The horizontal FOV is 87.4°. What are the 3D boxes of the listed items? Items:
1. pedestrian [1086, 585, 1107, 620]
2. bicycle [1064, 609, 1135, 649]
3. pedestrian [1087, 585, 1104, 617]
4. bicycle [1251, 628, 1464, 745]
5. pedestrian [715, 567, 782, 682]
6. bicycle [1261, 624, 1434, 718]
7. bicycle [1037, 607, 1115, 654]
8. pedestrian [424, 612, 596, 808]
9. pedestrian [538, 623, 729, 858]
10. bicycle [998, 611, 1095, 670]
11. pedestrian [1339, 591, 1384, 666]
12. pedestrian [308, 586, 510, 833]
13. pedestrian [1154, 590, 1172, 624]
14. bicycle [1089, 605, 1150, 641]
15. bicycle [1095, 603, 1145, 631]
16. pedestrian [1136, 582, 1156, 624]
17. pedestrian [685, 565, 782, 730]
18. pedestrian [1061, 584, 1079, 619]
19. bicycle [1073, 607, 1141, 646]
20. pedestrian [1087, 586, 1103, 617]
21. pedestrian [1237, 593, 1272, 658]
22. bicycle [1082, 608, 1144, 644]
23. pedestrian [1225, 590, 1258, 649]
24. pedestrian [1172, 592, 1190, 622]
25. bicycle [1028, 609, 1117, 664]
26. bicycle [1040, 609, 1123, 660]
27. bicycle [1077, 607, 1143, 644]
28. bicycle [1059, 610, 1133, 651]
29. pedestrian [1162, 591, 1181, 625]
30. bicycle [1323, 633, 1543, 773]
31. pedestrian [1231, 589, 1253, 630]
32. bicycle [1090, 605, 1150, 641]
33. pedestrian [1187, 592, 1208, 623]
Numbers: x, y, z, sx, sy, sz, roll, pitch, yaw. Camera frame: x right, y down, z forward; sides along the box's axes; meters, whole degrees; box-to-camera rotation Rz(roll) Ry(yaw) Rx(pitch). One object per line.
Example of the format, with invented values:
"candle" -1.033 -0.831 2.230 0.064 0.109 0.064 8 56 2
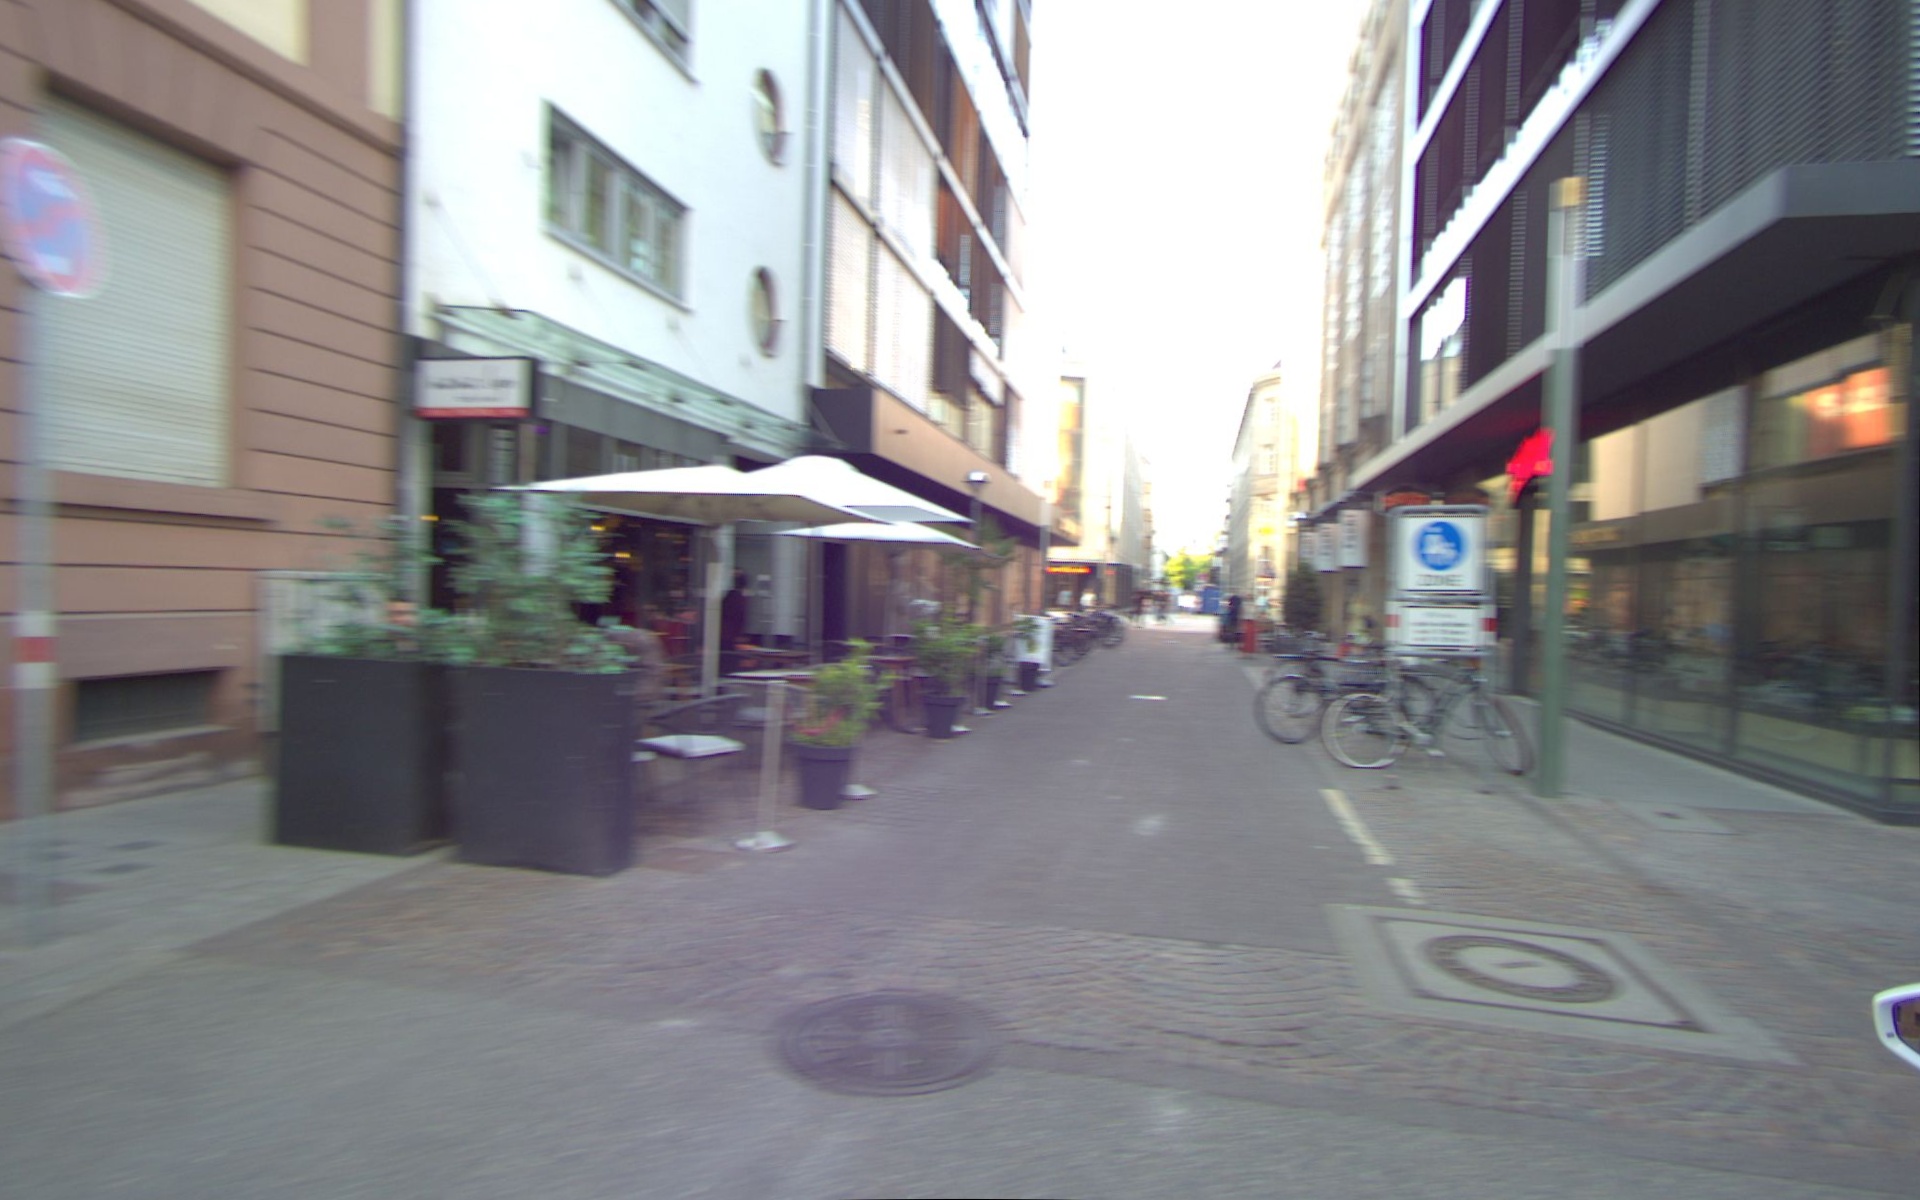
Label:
"pedestrian" 7.507 0.106 55.209 1.008 1.884 0.907 1 1 13
"bicycle" 4.163 0.851 29.975 2.013 1.030 0.467 4 2 13
"pedestrian" 8.194 0.073 60.711 0.889 1.884 0.836 1 1 13
"bicycle" 4.040 0.869 10.330 1.975 1.136 0.467 -1 1 13
"pedestrian" -3.176 0.360 15.155 0.842 1.681 0.799 1 1 -3
"bicycle" 4.919 0.894 12.847 1.999 1.136 0.467 -1 1 13
"bicycle" 3.018 0.783 26.051 1.914 1.089 0.467 4 2 13
"pedestrian" -3.021 0.707 6.790 0.776 1.199 0.674 3 1 12
"pedestrian" -1.843 0.760 5.747 0.776 1.199 0.674 3 1 8
"bicycle" 1.818 0.833 21.047 1.914 1.089 0.467 4 2 13
"pedestrian" 8.738 0.598 21.883 0.784 1.586 0.859 1 1 16
"pedestrian" -3.285 0.614 6.031 0.776 1.349 0.674 3 1 12
"pedestrian" 10.434 0.360 51.604 0.889 1.683 0.793 1 1 11
"bicycle" 5.569 0.785 35.140 2.013 1.110 0.467 4 2 13
"bicycle" 6.682 0.721 41.968 2.013 1.027 0.467 4 2 13
"pedestrian" 8.441 0.126 45.521 0.819 1.884 0.907 1 1 12
"pedestrian" -2.396 0.481 10.677 0.776 1.671 0.726 1 1 8
"pedestrian" 6.020 0.089 54.930 0.889 1.884 0.836 1 1 13
"bicycle" 4.588 0.831 31.441 2.013 1.064 0.467 4 2 13
"pedestrian" 8.294 0.070 61.622 0.889 1.884 0.836 1 1 13
"pedestrian" 7.439 0.631 25.383 0.784 1.586 0.859 1 1 14
"bicycle" 5.178 0.885 33.984 2.013 1.064 0.467 4 2 13
"pedestrian" 8.281 0.566 29.578 0.884 1.683 0.931 1 1 15
"pedestrian" 13.154 0.430 59.740 0.848 1.757 0.933 1 1 23
"bicycle" 2.572 0.827 22.995 1.914 1.089 0.467 4 2 13
"bicycle" 2.985 0.841 24.717 1.914 1.089 0.467 4 2 13
"bicycle" 4.881 0.829 32.686 2.013 1.064 0.467 4 2 13
"bicycle" 3.907 0.871 28.849 2.013 1.030 0.467 4 2 13
"pedestrian" 10.687 0.414 50.786 0.889 1.683 0.793 1 1 11
"bicycle" 4.076 0.873 8.756 1.668 1.151 0.467 -1 1 13
"pedestrian" 13.008 0.435 46.418 0.889 1.884 0.836 1 1 12
"bicycle" 5.718 0.814 35.865 2.013 1.110 0.467 4 2 13
"pedestrian" 13.933 0.442 58.874 0.993 1.757 0.981 1 1 23
